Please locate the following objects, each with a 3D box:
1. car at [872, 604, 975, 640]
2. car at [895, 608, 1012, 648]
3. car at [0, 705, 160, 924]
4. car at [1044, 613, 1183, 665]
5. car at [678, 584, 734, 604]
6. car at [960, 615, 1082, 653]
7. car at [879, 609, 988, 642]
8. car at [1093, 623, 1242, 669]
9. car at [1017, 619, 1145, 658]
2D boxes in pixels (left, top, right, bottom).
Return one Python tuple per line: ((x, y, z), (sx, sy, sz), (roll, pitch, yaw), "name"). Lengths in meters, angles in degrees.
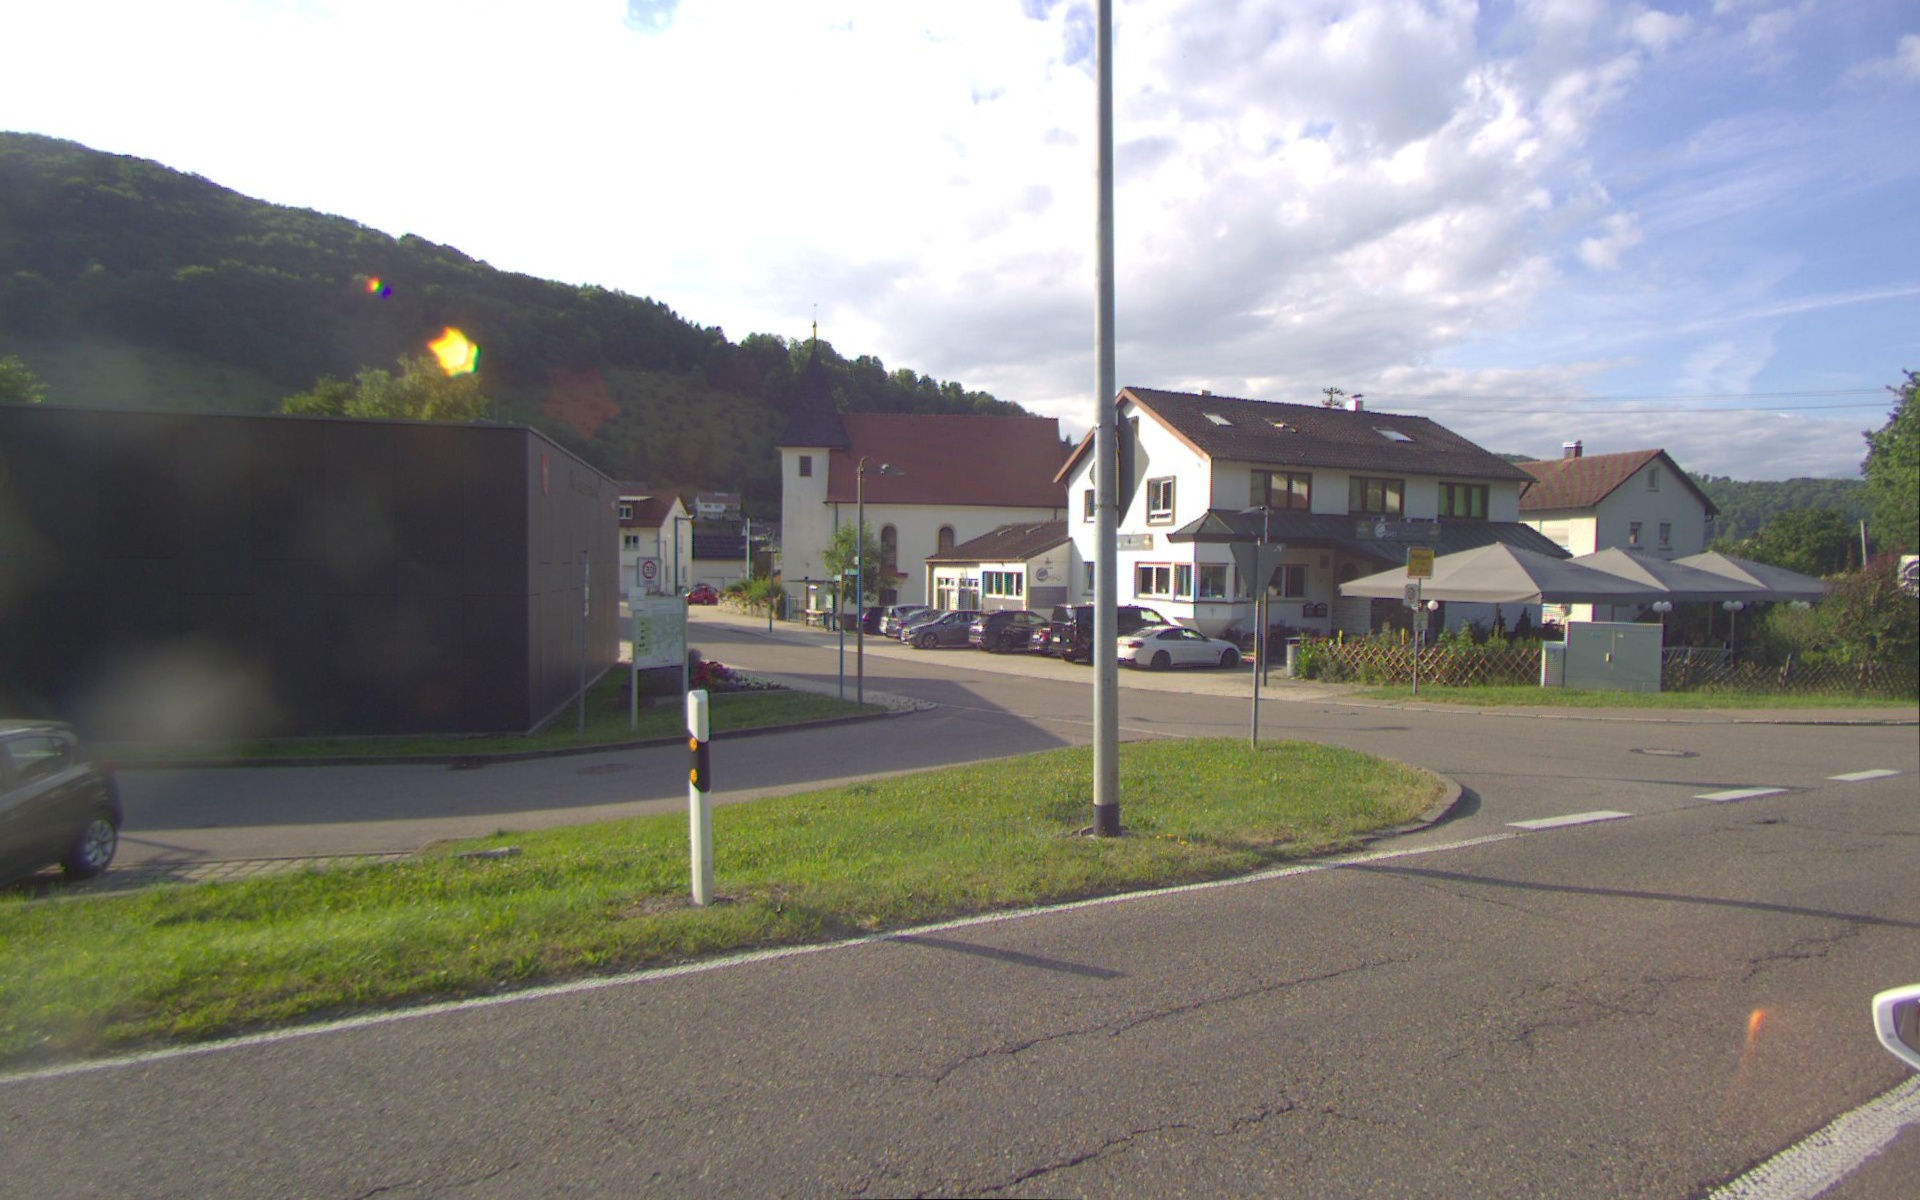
((-1.744, 1.062, 48.007), (4.518, 1.665, 1.986), (1, -1, -27), "car")
((-0.267, 1.176, 42.244), (4.518, 1.618, 1.986), (1, -1, -27), "car")
((-8.527, 1.782, 7.928), (1.801, 1.555, 3.992), (1, -1, -12), "car")
((5.367, 1.350, 35.050), (4.518, 1.707, 1.986), (1, -1, -27), "car")
((-20.316, -0.452, 80.492), (3.956, 1.528, 1.982), (1, 0, -32), "car")
((2.447, 1.338, 40.099), (4.518, 1.431, 1.986), (1, -1, -27), "car")
((-1.203, 1.175, 45.408), (4.518, 1.431, 1.986), (1, -1, -27), "car")
((6.784, 1.473, 32.781), (4.518, 1.408, 1.986), (1, -1, -27), "car")
((4.605, 1.445, 38.190), (4.518, 1.408, 1.986), (1, -1, -27), "car")
